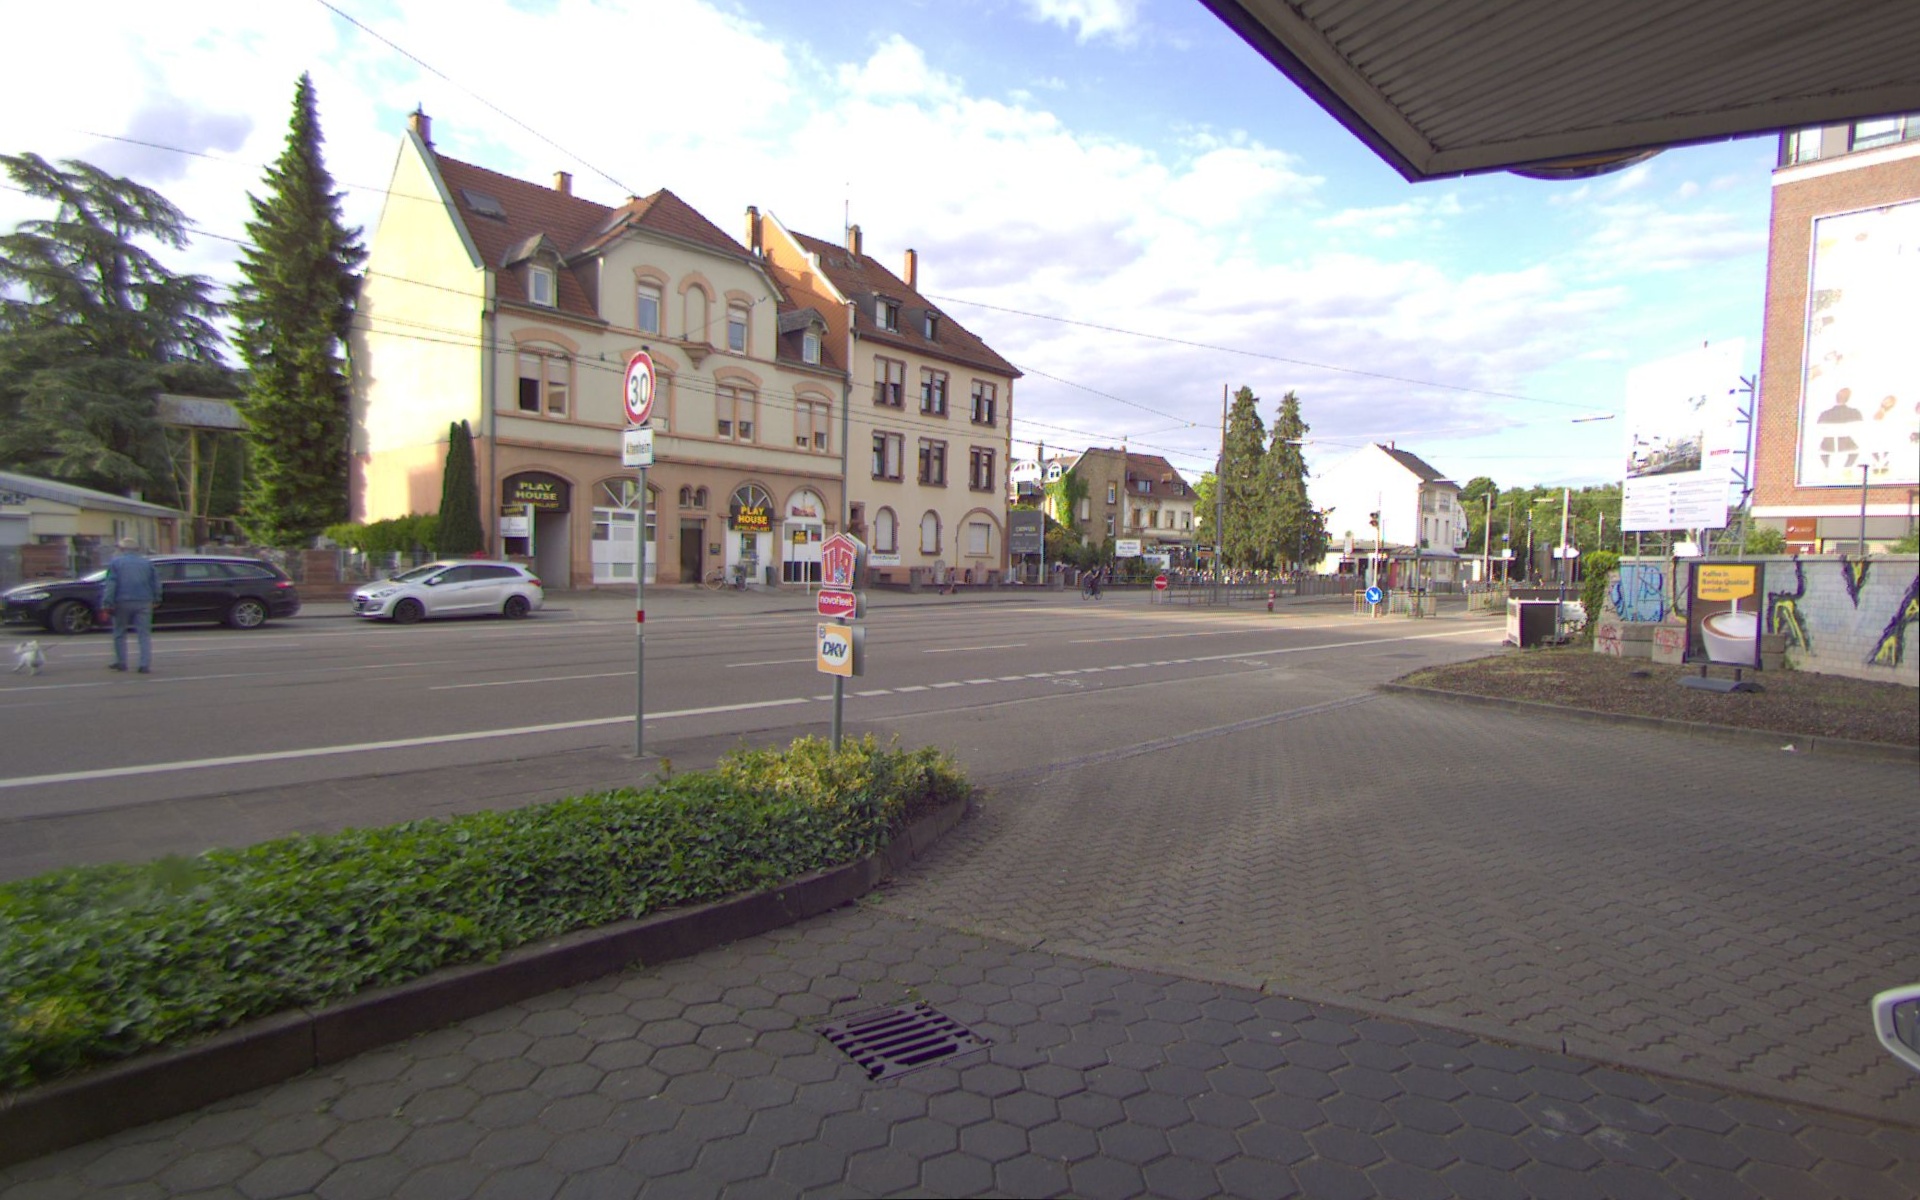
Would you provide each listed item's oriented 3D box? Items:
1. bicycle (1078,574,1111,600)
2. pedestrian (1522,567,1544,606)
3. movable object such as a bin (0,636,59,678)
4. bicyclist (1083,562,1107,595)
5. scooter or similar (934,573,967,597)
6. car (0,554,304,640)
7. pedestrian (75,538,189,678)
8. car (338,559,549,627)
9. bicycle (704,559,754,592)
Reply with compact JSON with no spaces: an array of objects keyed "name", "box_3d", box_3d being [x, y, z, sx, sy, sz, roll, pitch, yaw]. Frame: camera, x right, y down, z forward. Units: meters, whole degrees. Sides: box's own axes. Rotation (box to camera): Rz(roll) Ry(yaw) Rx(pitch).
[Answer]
[{"name":"bicycle","box_3d":[6.491,-0.626,48.306,0.670,1.239,1.910,2,2,39]},{"name":"pedestrian","box_3d":[30.659,-0.723,53.732,0.797,2.040,0.845,2,0,44]},{"name":"movable object such as a bin","box_3d":[-11.690,0.708,12.614,0.670,0.426,0.478,5,4,41]},{"name":"bicyclist","box_3d":[6.506,-1.029,48.290,0.670,1.555,1.080,2,2,39]},{"name":"scooter or similar","box_3d":[-0.434,-0.658,45.114,0.461,1.041,1.655,4,3,40]},{"name":"car","box_3d":[-16.601,-0.135,20.739,1.983,1.520,4.755,4,4,39]},{"name":"pedestrian","box_3d":[-10.664,0.075,12.941,0.957,1.690,0.998,5,4,41]},{"name":"car","box_3d":[-12.920,-0.230,25.360,1.699,1.503,4.434,4,4,40]},{"name":"bicycle","box_3d":[-9.105,-0.949,39.614,0.665,1.229,1.862,4,2,41]}]
